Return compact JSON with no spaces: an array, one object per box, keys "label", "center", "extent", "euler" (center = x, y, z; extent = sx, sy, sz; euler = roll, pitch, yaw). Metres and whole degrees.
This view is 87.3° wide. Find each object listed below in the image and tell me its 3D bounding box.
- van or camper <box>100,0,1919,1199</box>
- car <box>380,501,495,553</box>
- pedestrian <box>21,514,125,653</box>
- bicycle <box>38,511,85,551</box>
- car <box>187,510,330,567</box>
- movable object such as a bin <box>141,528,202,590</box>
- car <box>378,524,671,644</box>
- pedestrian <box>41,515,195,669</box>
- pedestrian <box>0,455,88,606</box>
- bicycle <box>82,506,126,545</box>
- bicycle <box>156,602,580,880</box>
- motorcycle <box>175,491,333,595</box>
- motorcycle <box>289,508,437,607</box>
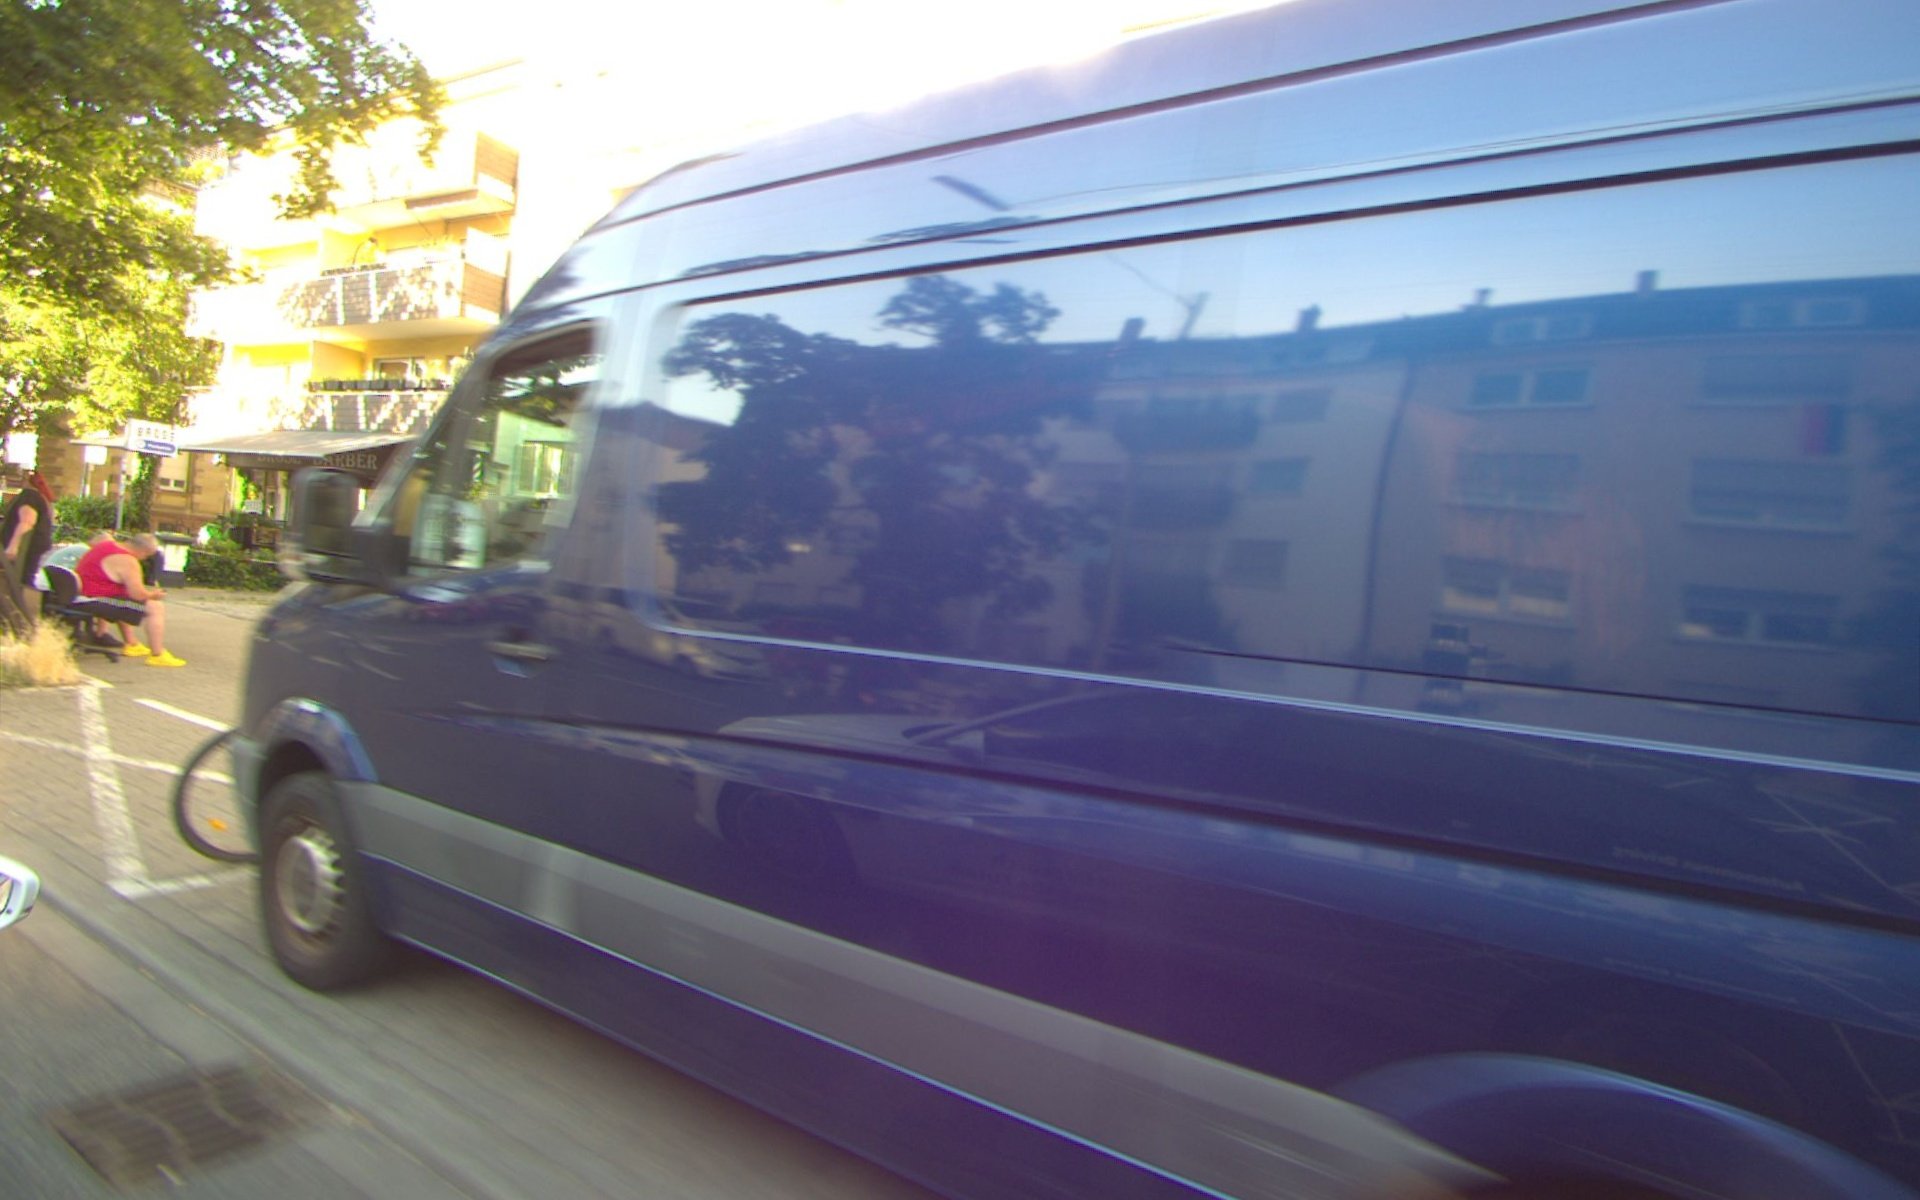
[{"label":"van or camper","center":[-0.024,0.146,3.020],"extent":[5.891,2.709,2.069],"euler":[6,1,32]},{"label":"car","center":[-19.409,-2.694,37.485],"extent":[1.633,1.436,3.349],"euler":[7,1,32]},{"label":"pedestrian","center":[-8.740,-0.163,9.936],"extent":[0.650,1.270,0.650],"euler":[6,2,-39]},{"label":"bicycle","center":[-25.237,-1.945,28.256],"extent":[1.554,0.961,0.343],"euler":[6,-1,26]},{"label":"car","center":[-26.449,-2.296,38.036],"extent":[1.897,1.605,3.921],"euler":[7,0,32]},{"label":"movable object such as a bin","center":[-13.464,-0.693,17.183],"extent":[0.530,0.961,0.613],"euler":[7,1,32]},{"label":"car","center":[-6.821,-0.175,16.212],"extent":[1.793,1.480,3.994],"euler":[7,0,28]},{"label":"pedestrian","center":[-7.605,-0.058,9.099],"extent":[0.688,1.270,0.798],"euler":[7,1,29]},{"label":"pedestrian","center":[-9.728,-0.715,10.282],"extent":[0.470,1.495,1.065],"euler":[7,1,12]},{"label":"bicycle","center":[-24.326,-2.116,28.596],"extent":[1.554,0.963,0.342],"euler":[6,3,26]},{"label":"bicycle","center":[-2.773,0.632,4.920],"extent":[0.398,1.103,1.702],"euler":[7,1,34]},{"label":"motorcycle","center":[-13.067,-1.019,18.695],"extent":[0.720,1.642,2.193],"euler":[8,1,38]},{"label":"motorcycle","center":[-11.495,-0.789,19.438],"extent":[0.876,1.642,2.193],"euler":[8,1,38]}]
